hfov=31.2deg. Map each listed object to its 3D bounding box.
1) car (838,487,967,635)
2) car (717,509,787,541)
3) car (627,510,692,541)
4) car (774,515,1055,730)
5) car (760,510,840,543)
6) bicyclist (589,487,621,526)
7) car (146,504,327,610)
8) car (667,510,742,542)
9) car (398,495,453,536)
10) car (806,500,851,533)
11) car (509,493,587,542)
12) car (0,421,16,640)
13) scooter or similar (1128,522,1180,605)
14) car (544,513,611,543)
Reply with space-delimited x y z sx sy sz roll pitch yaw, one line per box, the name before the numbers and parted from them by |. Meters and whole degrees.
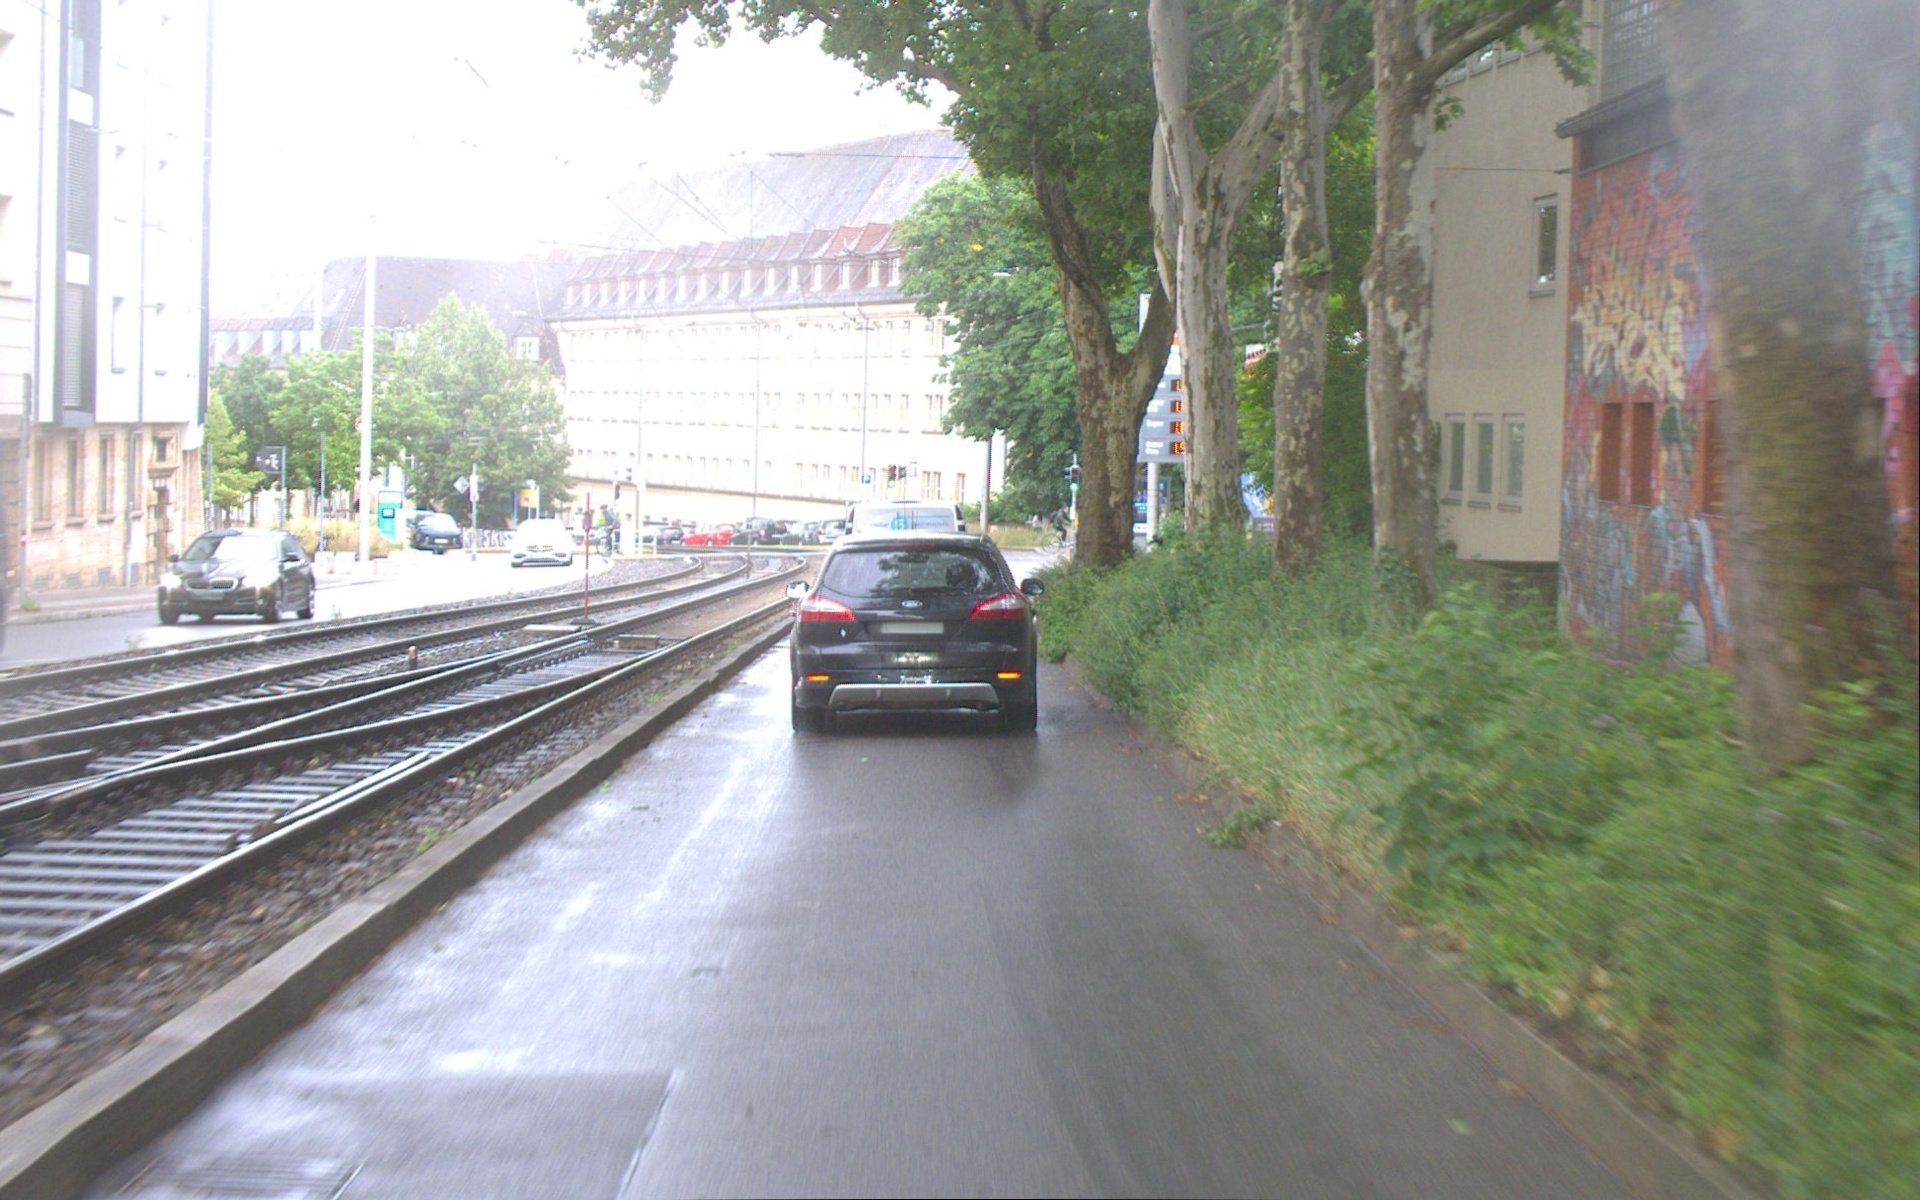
car | -0.800 -0.582 49.414 1.740 2.007 3.904 1 1 0
car | -10.319 -3.727 170.248 1.581 1.537 4.000 0 1 -35
car | -15.686 -3.898 179.303 1.993 1.537 4.001 -1 2 -28
car | -0.386 0.113 26.373 1.933 1.448 4.318 2 1 -2
car | -7.719 -3.532 165.325 1.994 1.537 4.000 0 1 -35
bicyclist | -11.920 -3.143 115.370 0.772 1.309 0.791 -2 2 -37
car | -11.471 -0.718 54.790 1.880 1.481 4.855 1 3 -1
car | -12.989 -3.755 174.625 1.994 1.537 3.999 0 1 -36
car | -20.664 -3.261 132.803 1.993 1.537 4.001 1 1 -10
car | -6.197 -3.922 161.631 1.657 1.471 3.645 1 1 -9
car | -12.955 -2.580 108.329 1.799 1.477 4.840 1 1 0
car | -11.709 -0.765 36.038 1.993 2.443 5.999 1 1 -1
scooter or similar | 2.968 -0.553 52.514 0.374 1.230 1.369 0 -1 21
car | -20.815 -3.932 186.836 1.993 1.537 4.000 0 1 -33
